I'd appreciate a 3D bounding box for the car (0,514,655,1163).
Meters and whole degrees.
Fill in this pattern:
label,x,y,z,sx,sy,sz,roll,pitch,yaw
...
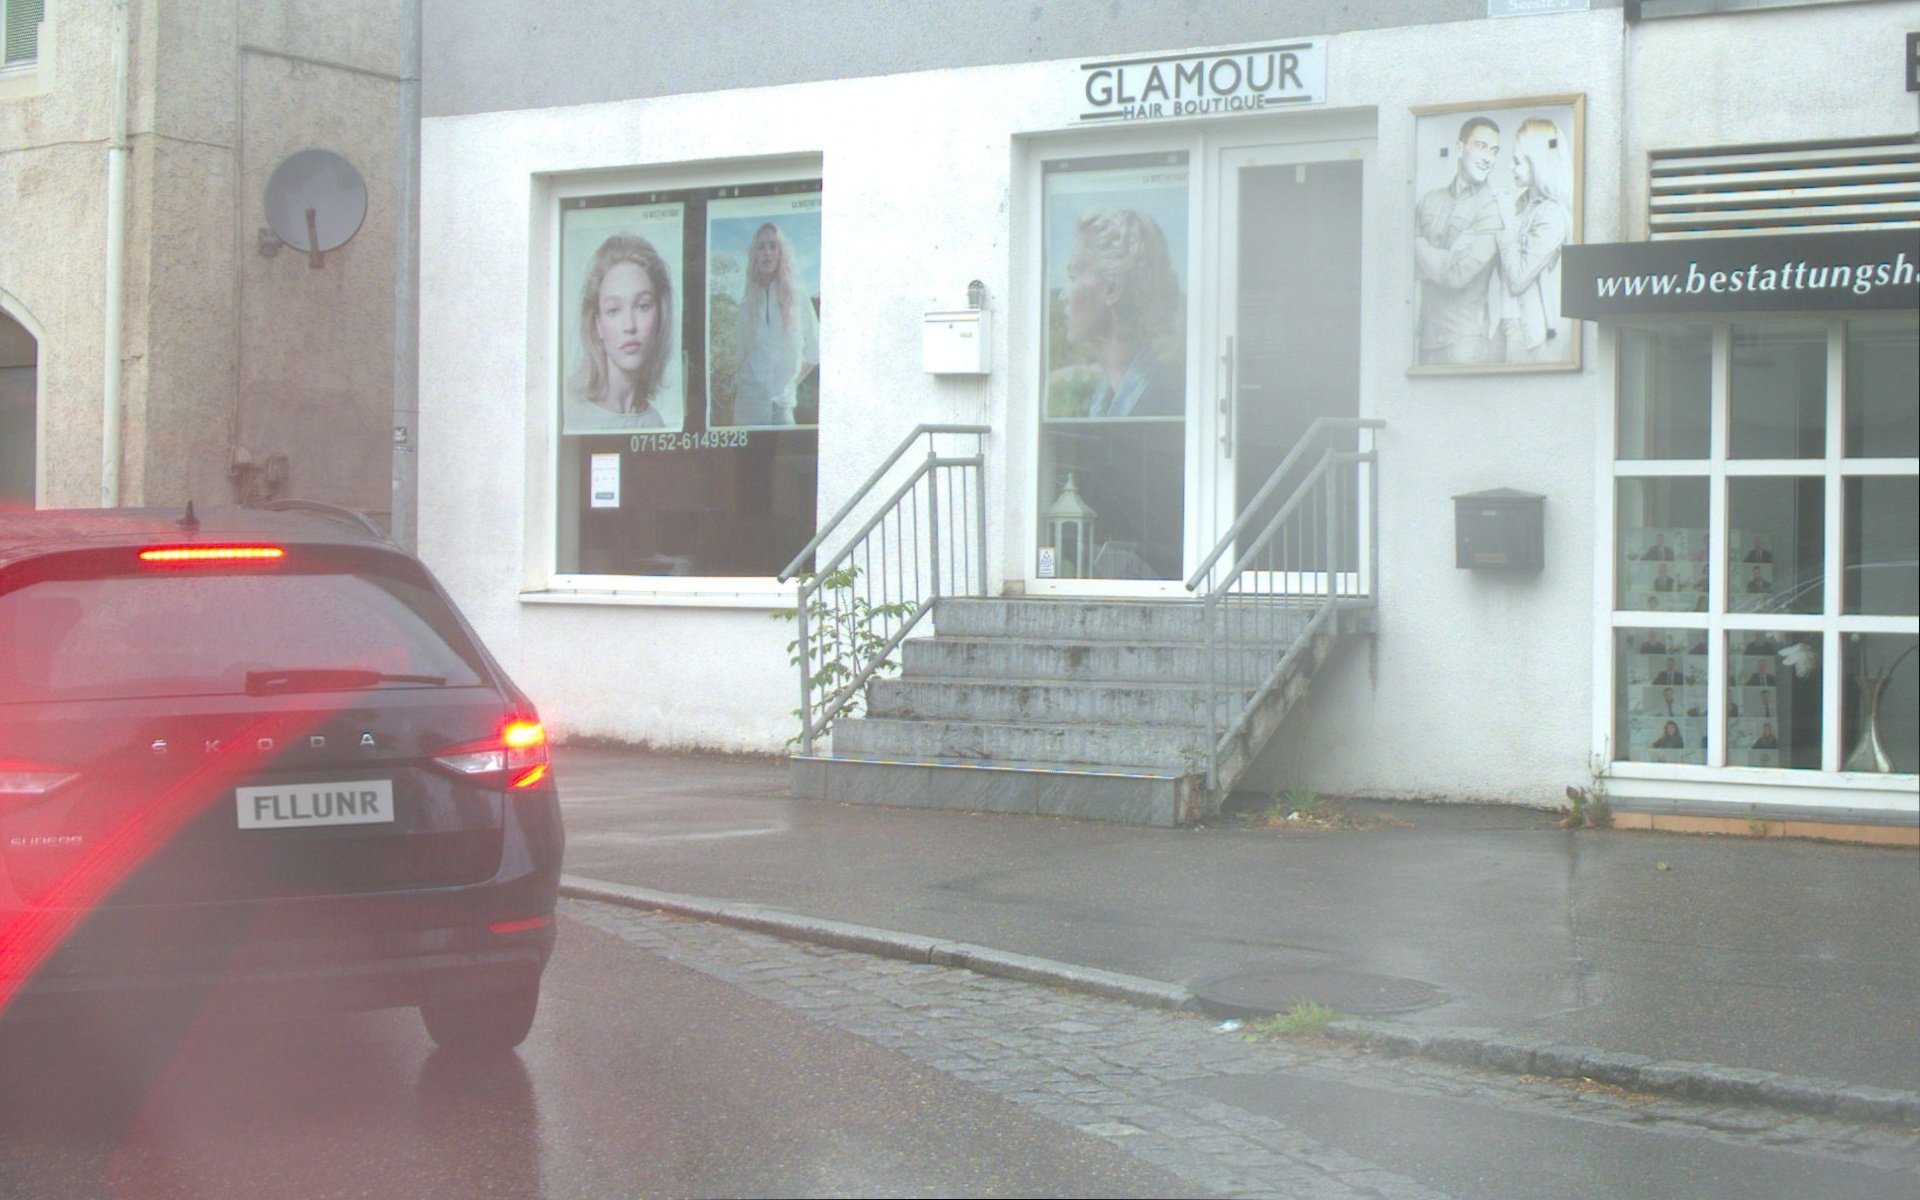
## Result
label,x,y,z,sx,sy,sz,roll,pitch,yaw
car,-2.477,0.482,9.897,1.886,1.443,4.358,0,1,-24

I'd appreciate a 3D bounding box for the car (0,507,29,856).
label,x,y,z,sx,sy,sz,roll,pitch,yaw
car,-5.884,0.293,15.557,1.857,1.468,3.999,0,2,-37
